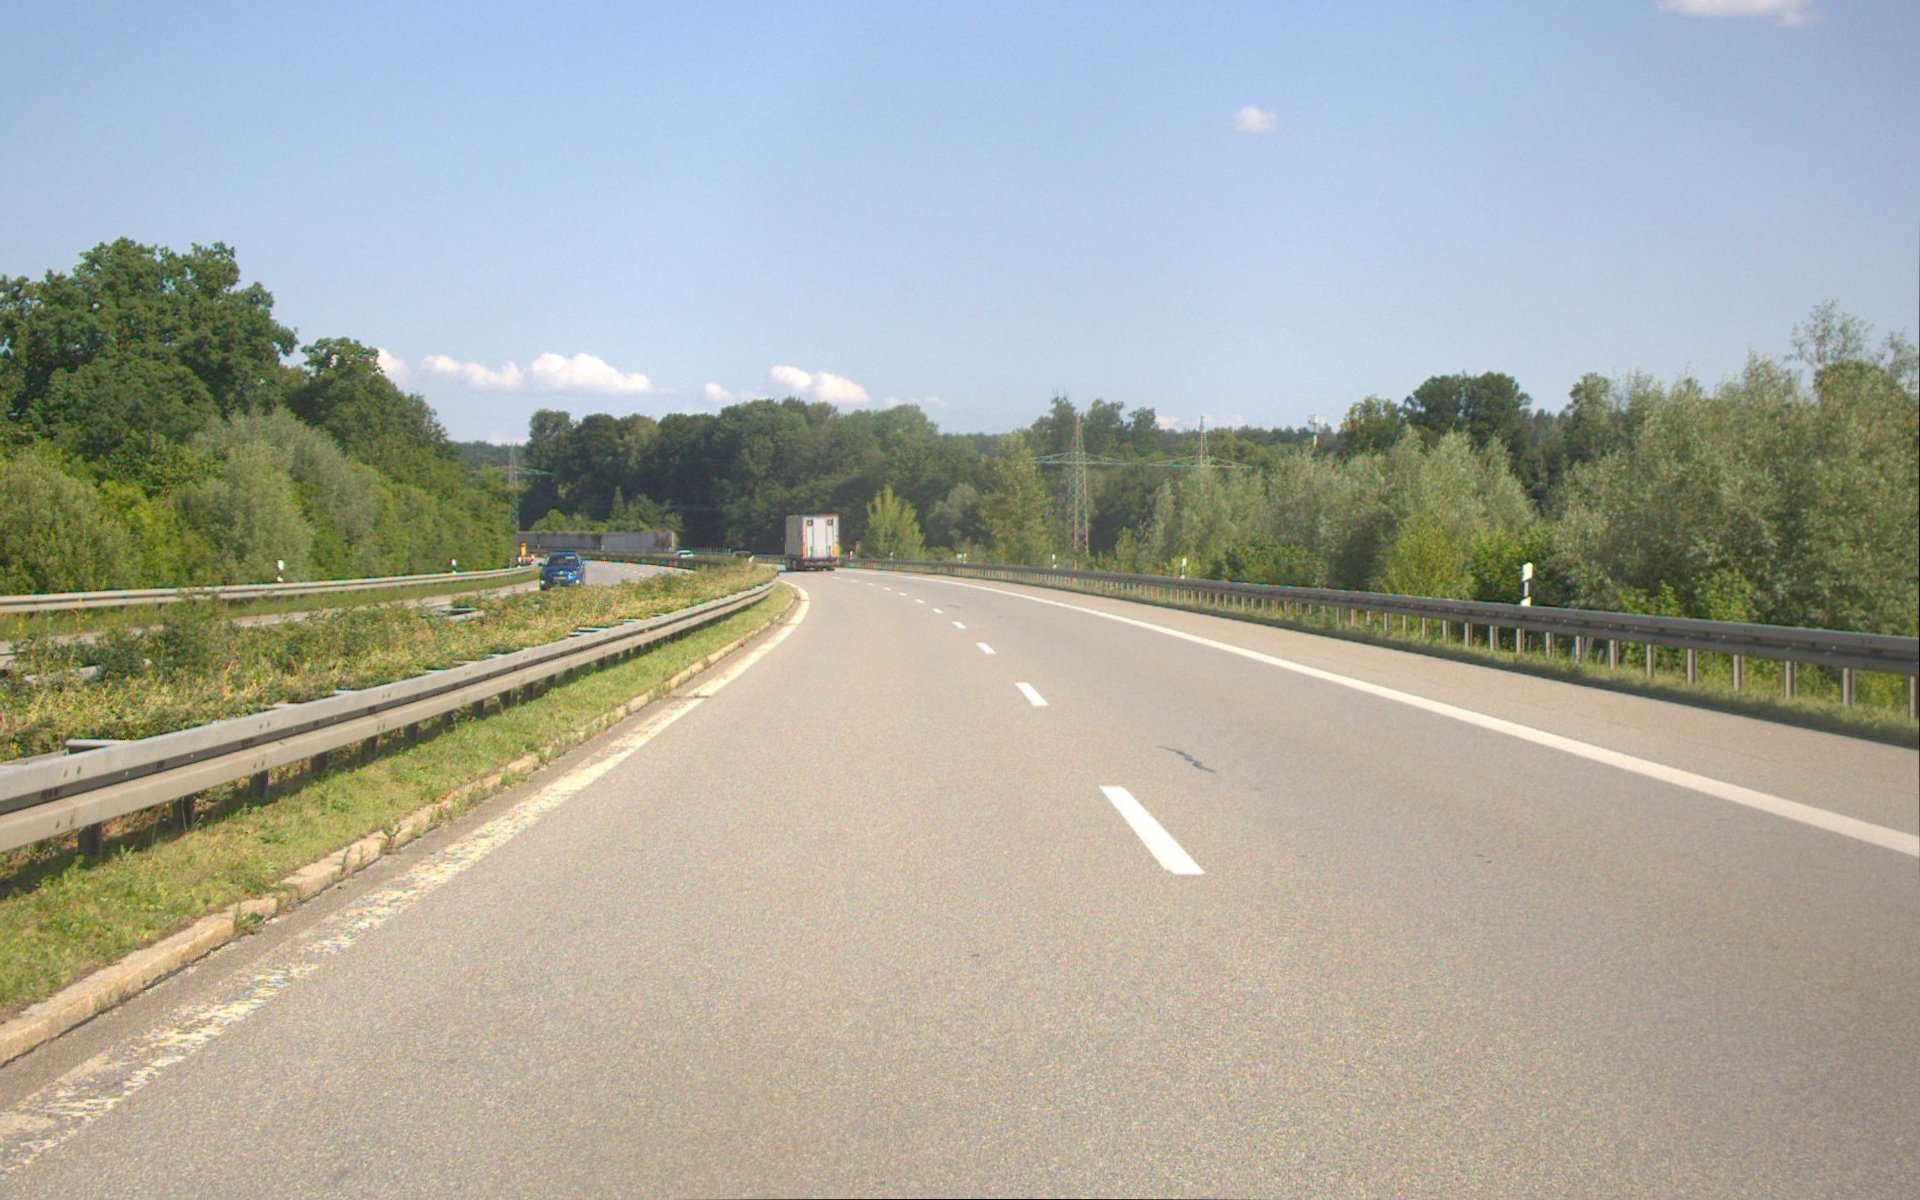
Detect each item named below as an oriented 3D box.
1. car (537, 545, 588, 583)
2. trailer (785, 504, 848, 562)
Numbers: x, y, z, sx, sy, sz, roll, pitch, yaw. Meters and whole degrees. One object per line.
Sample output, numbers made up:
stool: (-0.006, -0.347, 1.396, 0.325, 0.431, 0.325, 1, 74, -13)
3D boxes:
car: (-15.741, -1.454, 136.361, 1.676, 1.436, 4.001, -1, 1, -2)
trailer: (-10.439, -4.885, 248.836, 2.883, 4.052, 12.424, -1, 2, -10)
